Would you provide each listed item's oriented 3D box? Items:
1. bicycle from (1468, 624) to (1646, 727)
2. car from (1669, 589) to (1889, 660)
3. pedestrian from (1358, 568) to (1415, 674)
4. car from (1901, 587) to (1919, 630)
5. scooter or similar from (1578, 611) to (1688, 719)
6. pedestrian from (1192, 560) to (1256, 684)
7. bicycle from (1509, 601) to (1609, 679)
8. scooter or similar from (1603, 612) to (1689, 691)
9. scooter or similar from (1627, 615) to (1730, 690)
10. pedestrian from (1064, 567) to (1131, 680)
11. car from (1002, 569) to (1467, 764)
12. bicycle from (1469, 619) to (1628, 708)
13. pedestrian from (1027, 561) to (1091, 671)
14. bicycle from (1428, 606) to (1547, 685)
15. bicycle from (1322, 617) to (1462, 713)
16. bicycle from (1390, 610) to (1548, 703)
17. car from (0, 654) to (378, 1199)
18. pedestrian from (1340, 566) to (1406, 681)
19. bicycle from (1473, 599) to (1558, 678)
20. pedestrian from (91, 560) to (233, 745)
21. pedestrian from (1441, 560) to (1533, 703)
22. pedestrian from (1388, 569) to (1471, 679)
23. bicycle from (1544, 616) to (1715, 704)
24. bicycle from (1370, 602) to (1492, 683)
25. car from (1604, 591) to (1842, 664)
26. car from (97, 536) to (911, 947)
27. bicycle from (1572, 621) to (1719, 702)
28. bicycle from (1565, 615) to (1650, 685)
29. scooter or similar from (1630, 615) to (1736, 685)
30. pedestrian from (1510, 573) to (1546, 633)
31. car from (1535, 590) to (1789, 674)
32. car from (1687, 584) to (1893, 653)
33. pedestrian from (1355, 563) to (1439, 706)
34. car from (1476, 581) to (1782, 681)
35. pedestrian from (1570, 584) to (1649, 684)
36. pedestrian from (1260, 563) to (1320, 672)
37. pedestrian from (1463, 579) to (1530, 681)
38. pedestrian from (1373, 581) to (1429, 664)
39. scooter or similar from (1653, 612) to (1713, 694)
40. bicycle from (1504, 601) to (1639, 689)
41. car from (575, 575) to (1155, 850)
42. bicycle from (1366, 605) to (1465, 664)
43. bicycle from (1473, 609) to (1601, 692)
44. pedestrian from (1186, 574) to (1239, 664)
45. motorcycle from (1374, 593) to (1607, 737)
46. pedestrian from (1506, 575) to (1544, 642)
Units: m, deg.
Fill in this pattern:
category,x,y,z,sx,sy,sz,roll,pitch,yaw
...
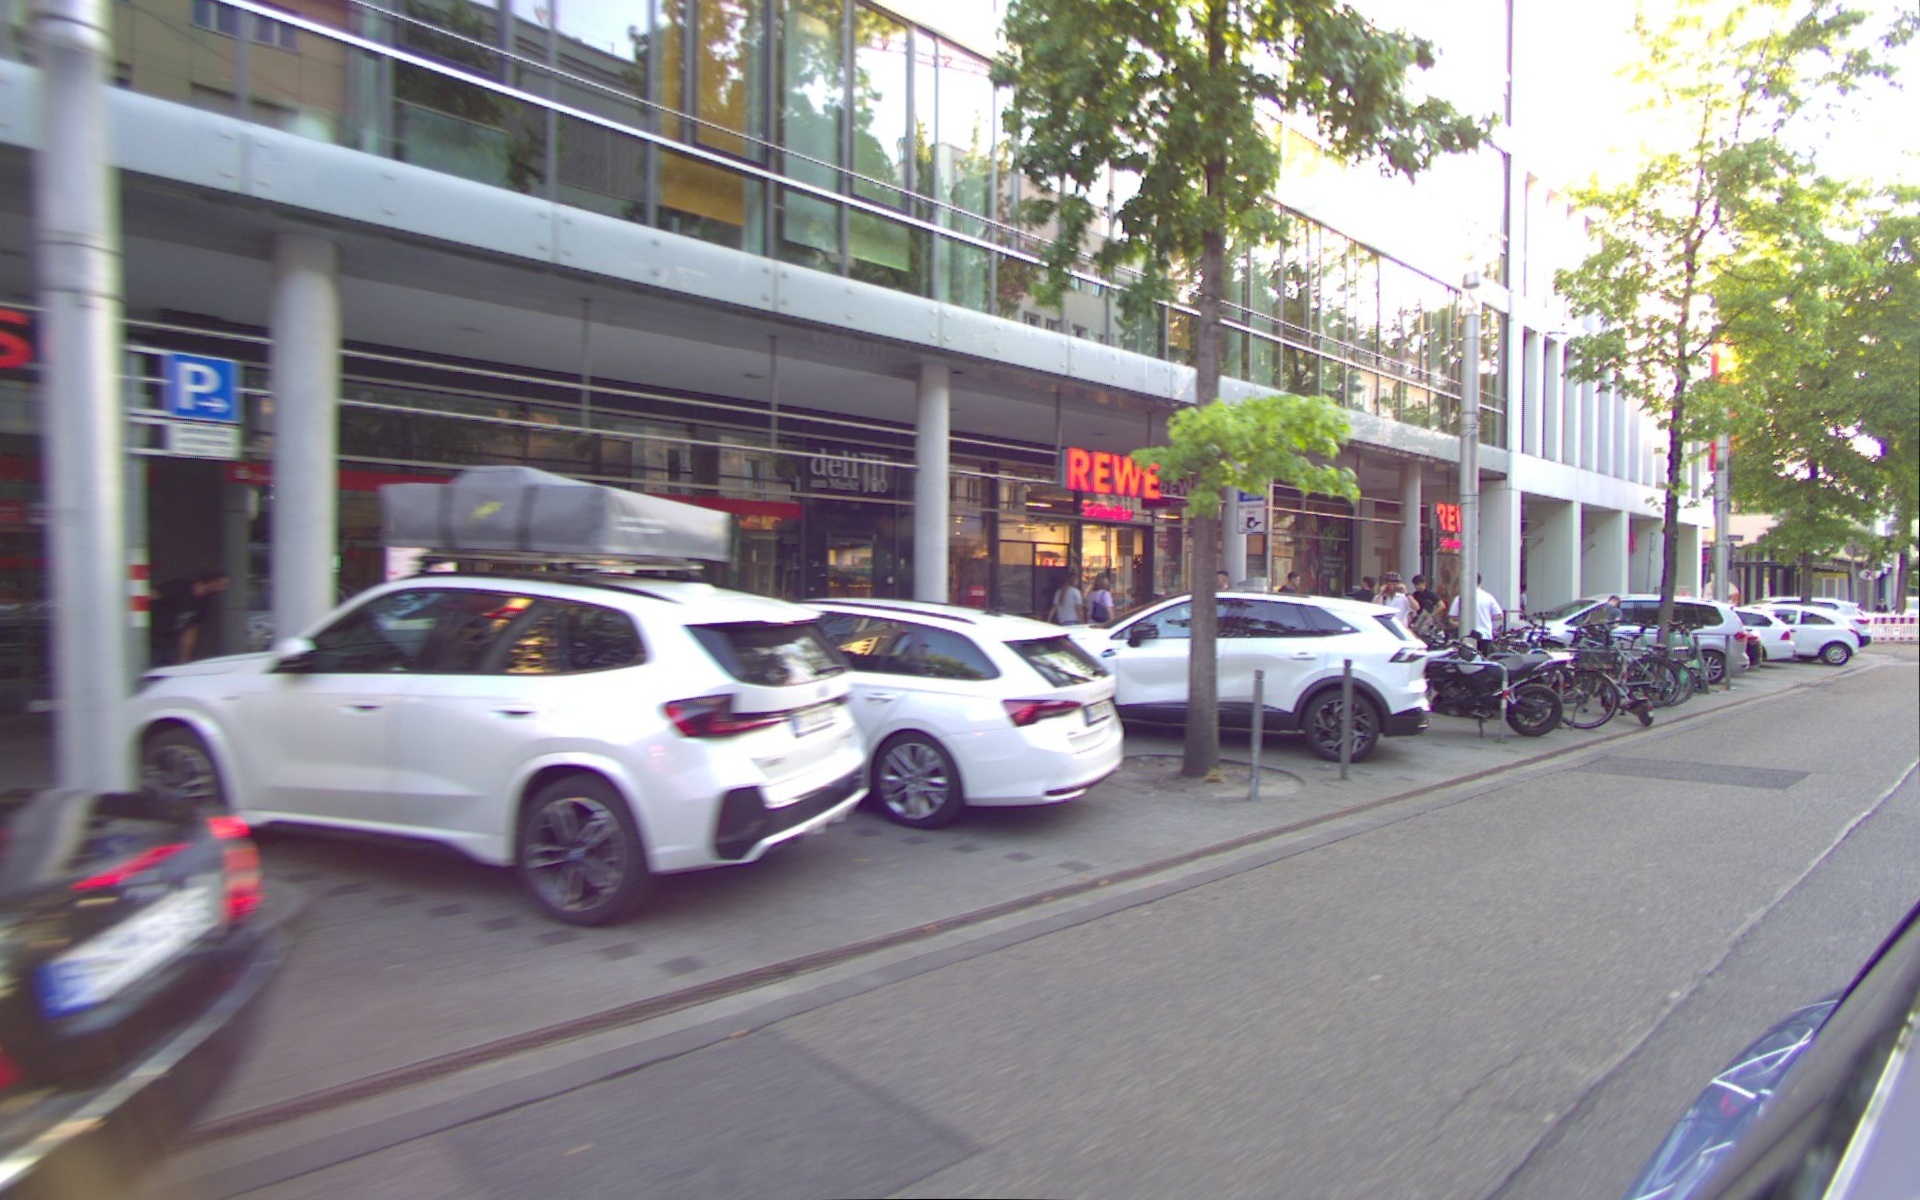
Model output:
category,x,y,z,sx,sy,sz,roll,pitch,yaw
bicycle,7.372,0.909,12.596,1.726,1.131,0.802,2,1,18
car,21.217,0.596,26.427,4.017,1.519,1.785,3,3,20
pedestrian,7.359,0.345,17.478,0.705,1.775,0.730,2,1,11
car,42.215,0.408,43.442,4.586,1.793,1.999,0,3,-39
scooter or similar,8.980,0.827,13.567,0.686,1.320,1.389,2,1,10
pedestrian,4.056,0.319,15.598,0.646,1.835,0.793,2,1,-6
bicycle,10.716,0.682,18.161,0.628,1.265,1.664,2,1,-5
scooter or similar,11.207,0.820,16.532,1.255,1.220,0.571,1,1,-27
scooter or similar,12.145,0.880,17.132,1.312,1.196,0.497,1,0,12
pedestrian,2.159,0.346,15.863,0.792,1.720,0.681,-1,0,-42
car,2.762,0.561,10.706,4.285,1.582,1.868,3,2,17
bicycle,8.381,0.878,14.486,1.809,1.089,0.620,3,1,18
pedestrian,1.605,0.242,16.422,0.792,1.720,0.663,-1,0,-42
bicycle,8.804,0.734,16.919,1.684,1.164,0.496,3,1,34
bicycle,5.652,0.831,13.327,1.577,1.046,0.550,5,2,20
bicycle,7.421,0.786,14.787,1.985,1.162,0.690,3,1,31
car,-3.763,0.837,1.824,4.353,1.365,1.811,1,0,-12
pedestrian,6.794,0.372,16.668,0.702,1.835,0.661,1,1,-11
bicycle,10.124,0.676,18.514,0.568,1.304,1.595,2,1,-2
pedestrian,-7.109,0.426,9.046,0.955,1.546,0.661,-1,1,-39
pedestrian,7.585,0.425,14.565,0.947,1.937,0.851,4,2,37
pedestrian,8.117,0.397,17.527,0.918,1.835,0.889,2,1,-6
bicycle,9.974,0.869,15.166,1.968,1.144,0.676,3,1,19
bicycle,7.690,0.684,16.579,1.669,1.204,0.553,3,1,12
car,18.545,0.607,24.880,4.308,1.440,1.812,3,2,26
car,-2.583,0.560,5.961,4.151,1.657,1.911,3,2,18
bicycle,10.361,0.912,15.357,1.726,1.089,0.491,3,1,19
bicycle,11.484,0.851,18.008,0.621,1.089,1.872,3,1,13
scooter or similar,12.676,0.867,17.765,1.375,1.164,0.579,1,0,3
pedestrian,16.399,0.089,29.226,0.791,1.721,0.681,2,-2,-42
car,15.273,0.631,22.353,4.310,1.440,1.937,3,3,28
car,24.287,0.480,29.833,4.228,1.692,1.936,3,3,25
pedestrian,5.869,0.442,13.629,0.806,1.835,0.598,4,1,11
car,13.082,0.546,20.146,4.607,1.660,1.948,2,2,14
pedestrian,11.111,0.565,17.317,0.753,1.646,0.794,1,1,-22
pedestrian,5.717,0.285,17.537,0.703,1.835,0.660,1,1,-37
pedestrian,8.989,0.491,16.969,0.646,1.644,0.707,2,1,-6
pedestrian,8.580,0.421,19.704,0.618,1.591,0.765,0,1,-19
scooter or similar,11.707,0.835,16.379,1.193,1.237,0.483,0,3,-40
bicycle,9.997,0.709,16.619,1.819,1.289,0.674,3,1,31
car,-0.776,0.641,7.900,4.144,1.475,1.848,4,3,26
bicycle,8.923,0.664,19.829,1.844,1.096,0.575,1,1,-19
bicycle,8.986,0.769,15.825,1.673,1.153,0.473,3,1,30
pedestrian,4.540,0.330,18.203,0.653,1.567,0.681,-1,0,-42
motorcycle,6.027,0.714,11.607,2.166,1.490,0.795,2,0,5
pedestrian,15.520,0.236,27.804,0.791,1.794,0.681,2,-2,-42
